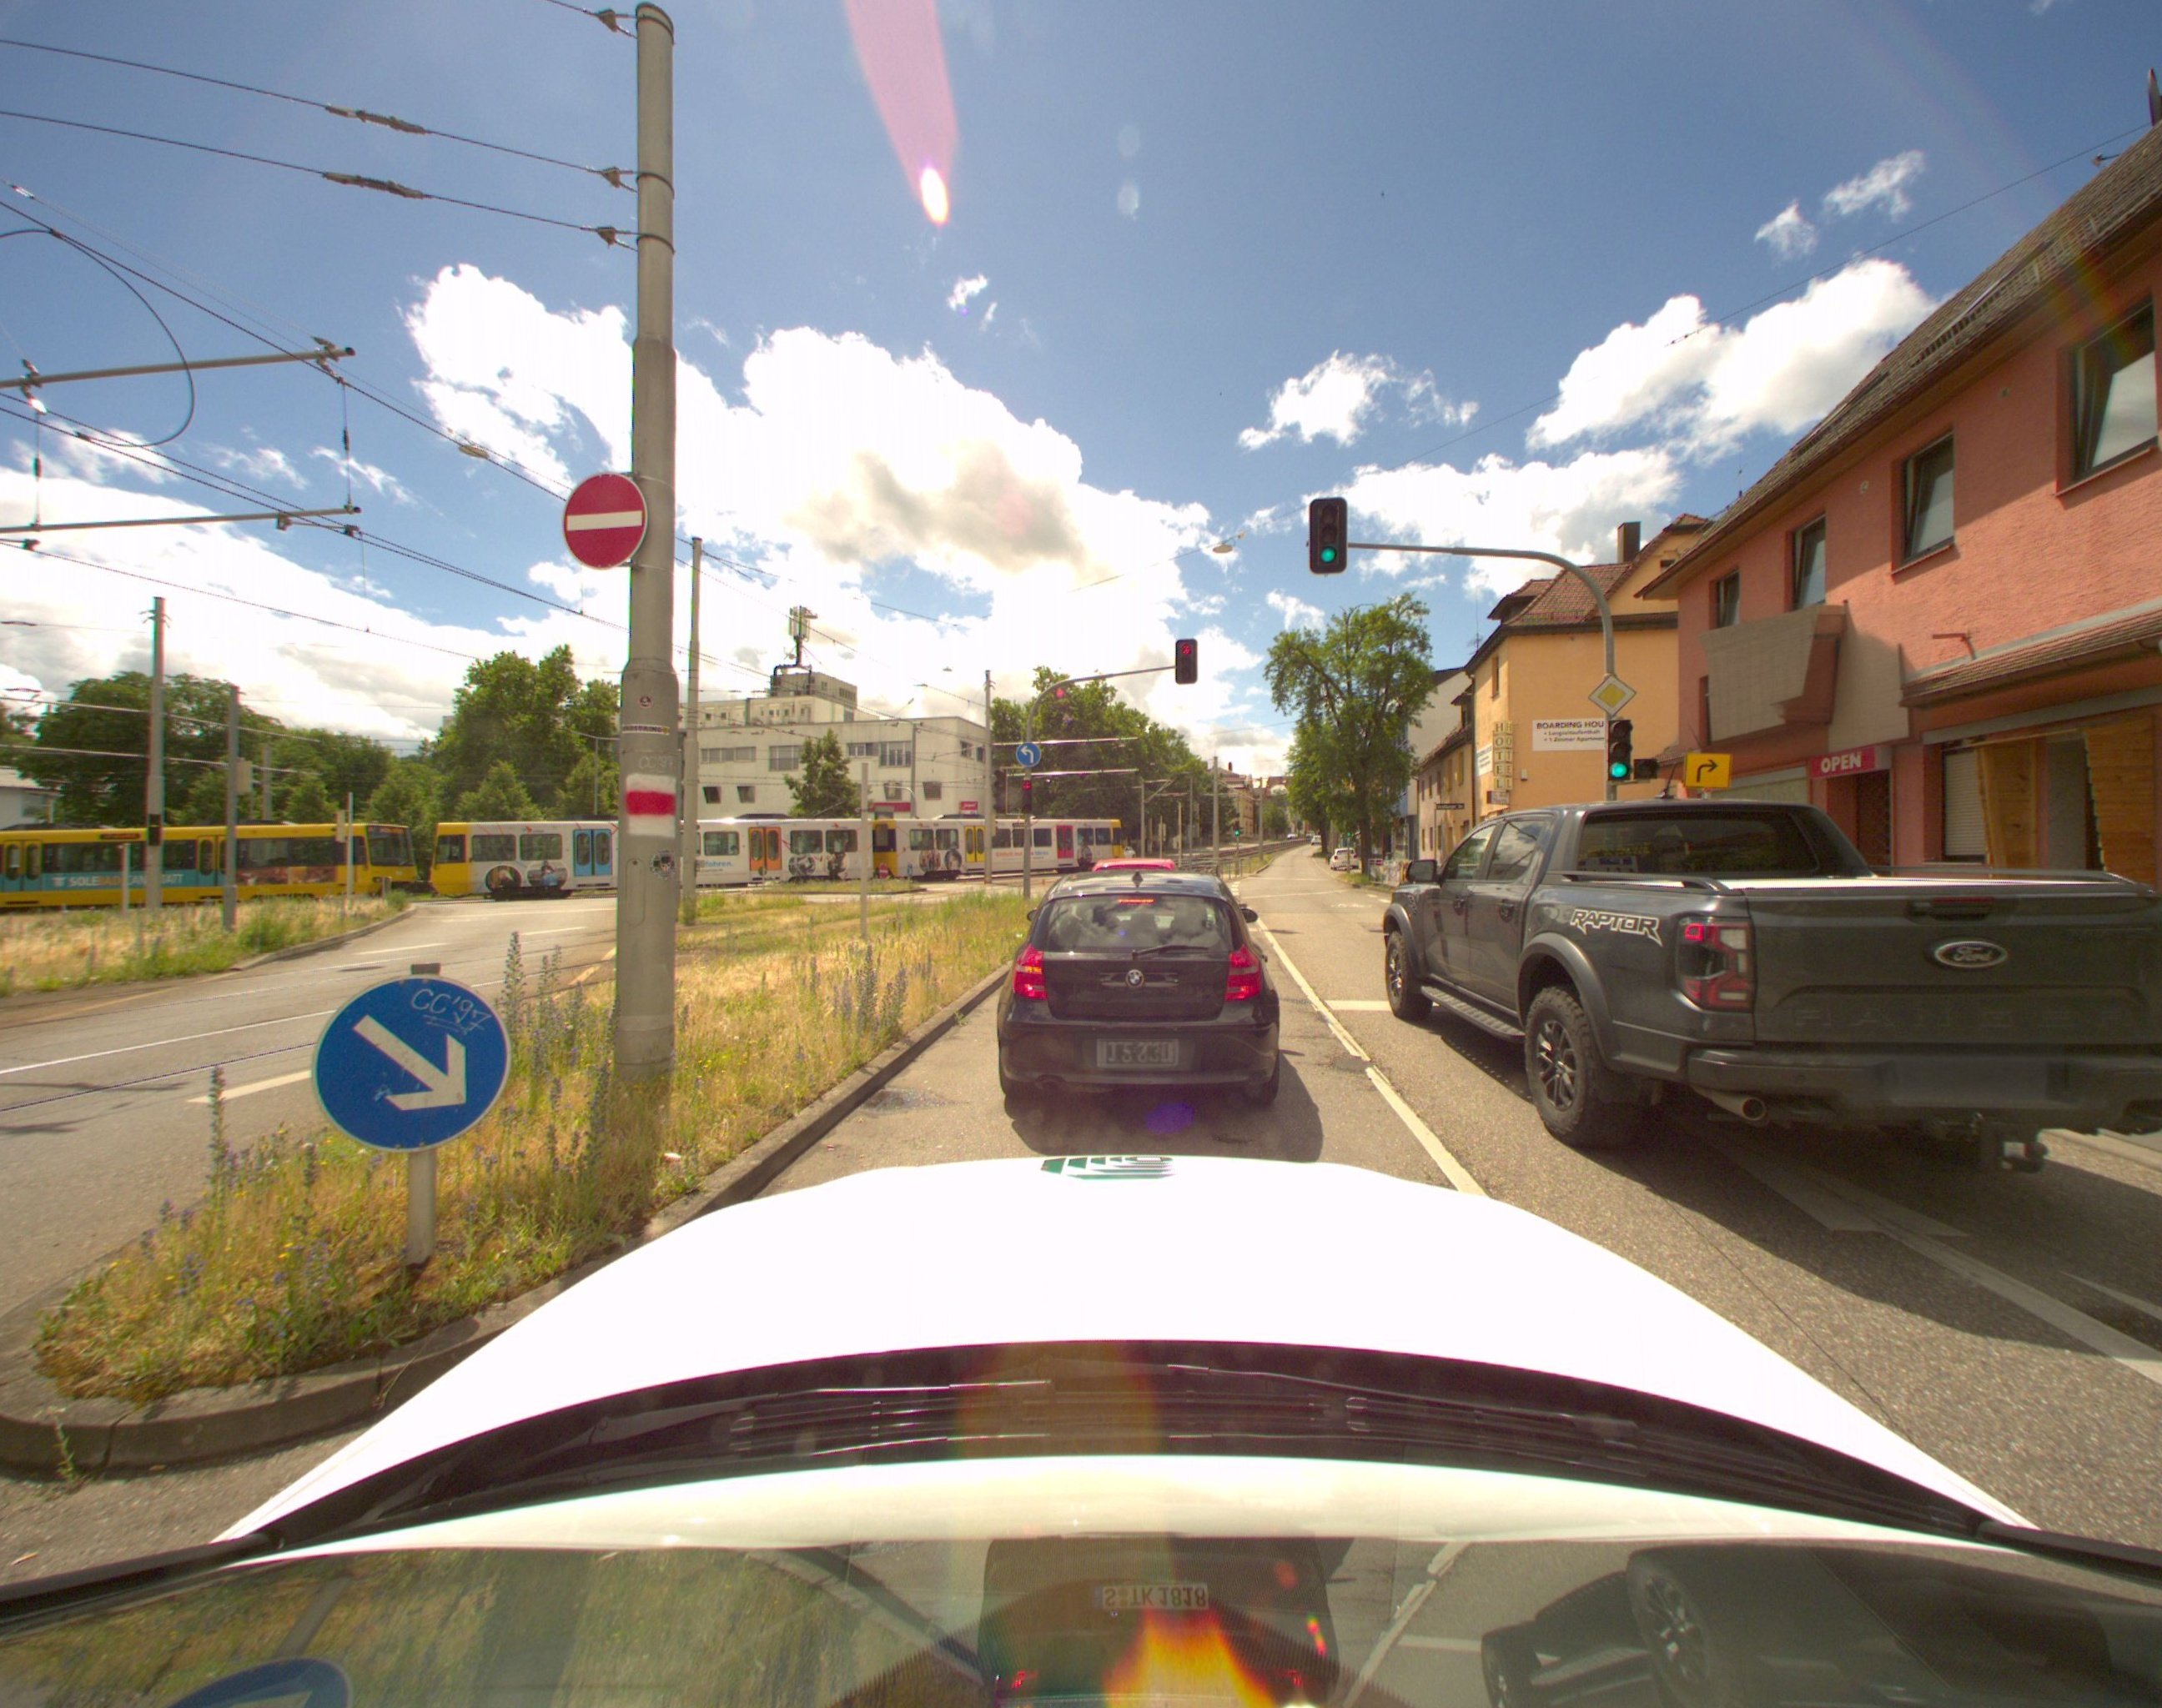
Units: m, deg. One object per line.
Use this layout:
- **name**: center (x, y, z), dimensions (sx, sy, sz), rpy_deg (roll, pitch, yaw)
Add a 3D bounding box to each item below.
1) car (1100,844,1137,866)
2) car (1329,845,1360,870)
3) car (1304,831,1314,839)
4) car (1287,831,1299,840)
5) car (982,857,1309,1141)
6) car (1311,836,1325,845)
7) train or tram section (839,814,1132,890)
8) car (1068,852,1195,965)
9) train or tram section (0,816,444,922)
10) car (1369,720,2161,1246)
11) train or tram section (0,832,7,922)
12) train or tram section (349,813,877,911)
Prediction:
- **car**: center (3.660, 0.117, 78.105), dimensions (1.836, 1.928, 4.824), rpy_deg (-2, -1, 24)
- **car**: center (17.930, 0.222, 55.504), dimensions (1.774, 1.596, 4.016), rpy_deg (-2, -1, 15)
- **car**: center (57.696, -4.777, 206.025), dimensions (1.976, 2.014, 4.022), rpy_deg (-2, -1, 23)
- **car**: center (48.750, -4.237, 187.132), dimensions (1.976, 2.014, 4.022), rpy_deg (-2, -1, 23)
- **car**: center (0.336, 0.796, 6.325), dimensions (1.696, 1.452, 3.999), rpy_deg (-2, -1, 0)
- **car**: center (38.511, -2.172, 132.355), dimensions (1.799, 1.468, 4.022), rpy_deg (-1, 0, 22)
- **train or tram section**: center (-4.712, -0.123, 49.792), dimensions (3.714, 3.814, 20.173), rpy_deg (-3, -1, 43)
- **car**: center (0.944, 0.755, 12.830), dimensions (1.616, 1.473, 4.009), rpy_deg (-2, -1, 8)
- **train or tram section**: center (-38.604, 0.677, 34.140), dimensions (20.040, 3.829, 3.756), rpy_deg (-2, -1, -4)
- **car**: center (3.611, 0.509, 5.557), dimensions (1.988, 1.887, 5.160), rpy_deg (-2, -1, 7)
- **train or tram section**: center (-56.630, 1.287, 35.507), dimensions (18.715, 3.919, 3.772), rpy_deg (-2, -1, 10)
- **train or tram section**: center (-20.480, 0.180, 38.500), dimensions (20.675, 3.879, 3.729), rpy_deg (-1, -1, -26)
